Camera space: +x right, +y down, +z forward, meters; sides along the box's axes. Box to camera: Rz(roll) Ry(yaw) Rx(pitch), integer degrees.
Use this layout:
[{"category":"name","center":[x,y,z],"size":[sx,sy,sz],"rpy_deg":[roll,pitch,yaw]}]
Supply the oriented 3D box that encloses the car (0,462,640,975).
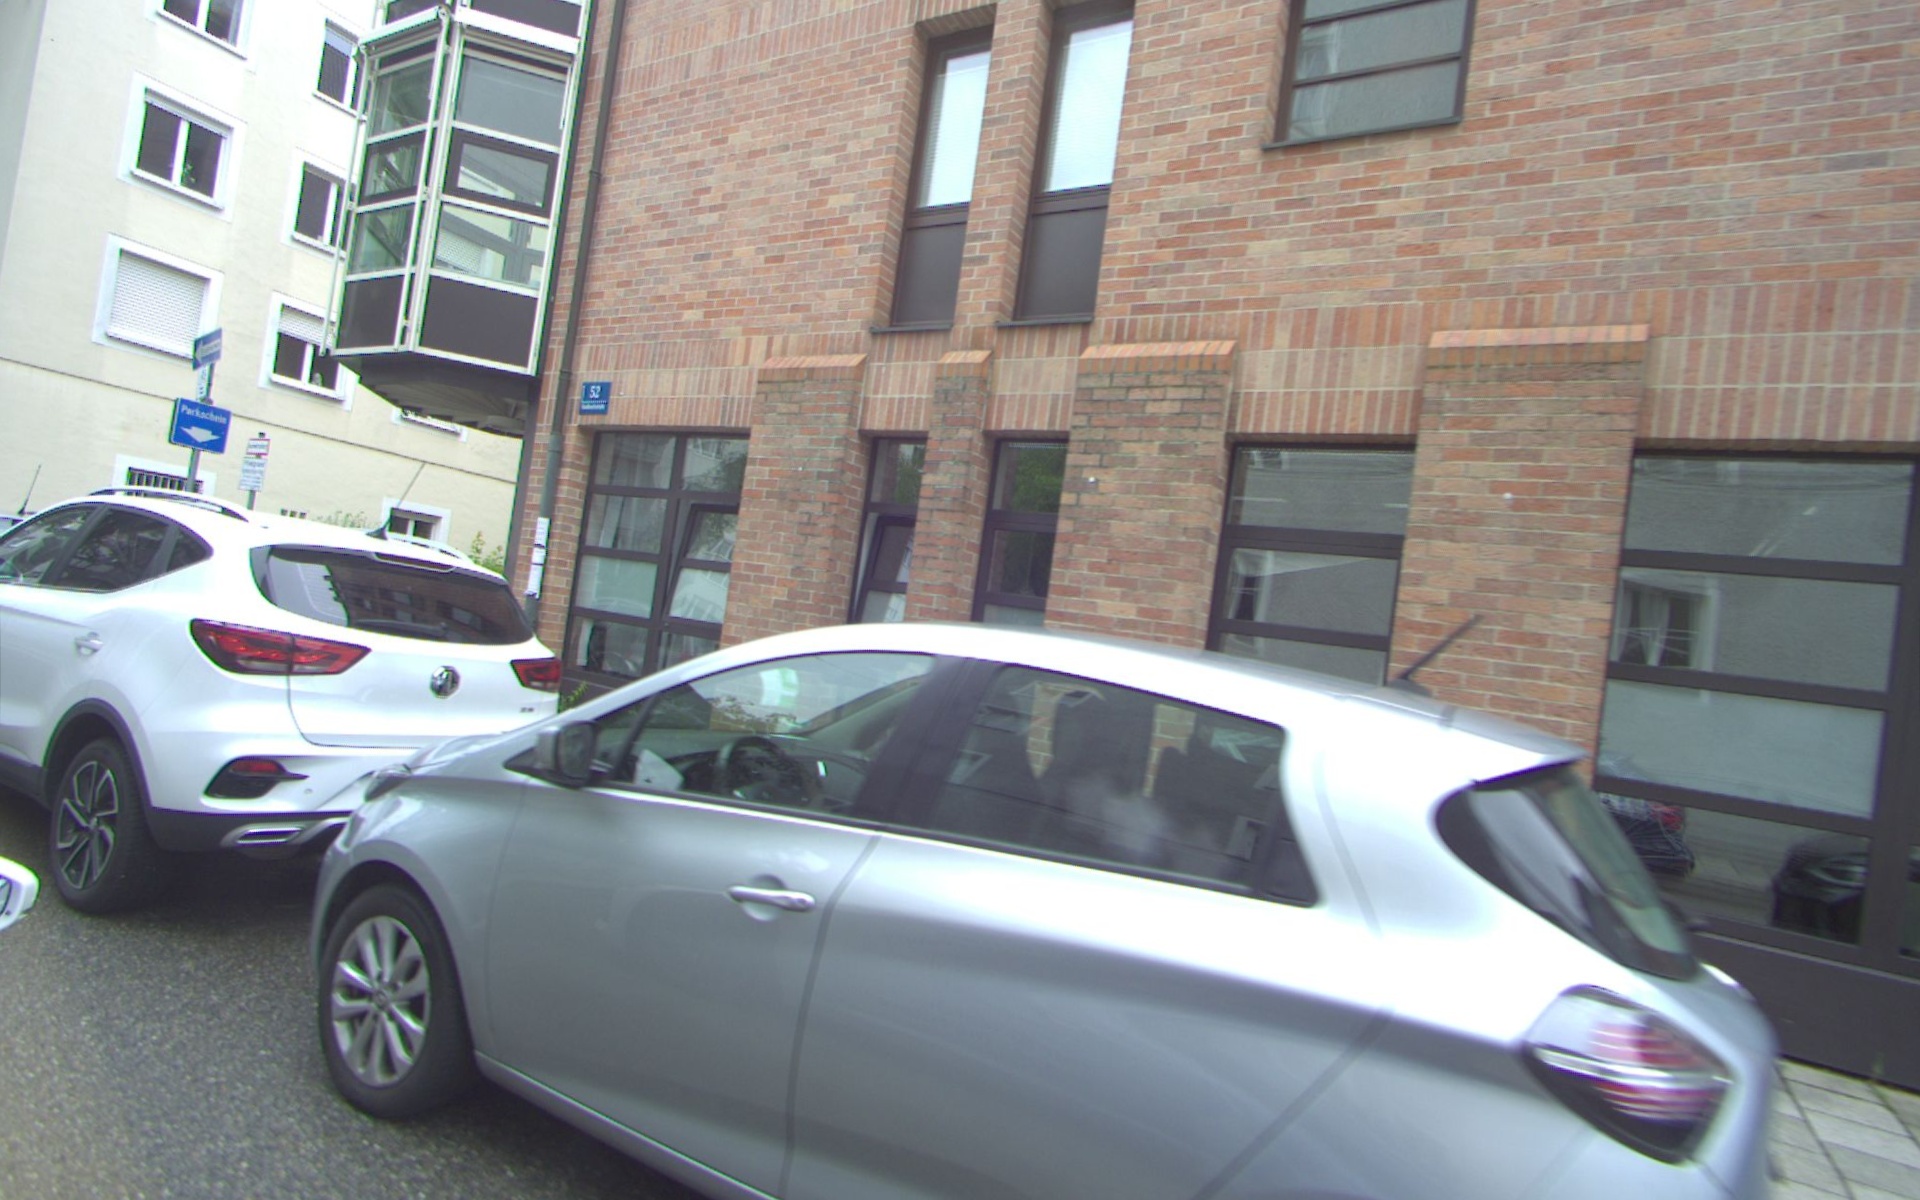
[{"category":"car","center":[-3.875,0.309,5.145],"size":[4.124,1.648,1.753],"rpy_deg":[7,-2,29]}]

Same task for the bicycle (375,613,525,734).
[{"category":"bicycle","center":[-4.605,0.643,9.045],"size":[1.516,0.884,0.385],"rpy_deg":[6,-1,32]}]

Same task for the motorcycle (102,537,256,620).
[{"category":"motorcycle","center":[-13.503,-0.349,17.436],"size":[1.897,1.120,0.622],"rpy_deg":[9,-2,-11]}]

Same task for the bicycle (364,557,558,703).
[{"category":"bicycle","center":[-5.109,0.328,10.352],"size":[1.628,1.291,0.376],"rpy_deg":[8,-1,-32]}]

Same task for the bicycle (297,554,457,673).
[{"category":"bicycle","center":[-6.871,0.169,11.881],"size":[1.523,1.172,0.380],"rpy_deg":[8,-2,3]}]

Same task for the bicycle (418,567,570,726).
[{"category":"bicycle","center":[-4.372,0.412,9.406],"size":[1.527,1.291,0.379],"rpy_deg":[6,-1,32]}]

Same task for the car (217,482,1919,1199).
[{"category":"car","center":[-0.014,0.739,2.822],"size":[3.814,1.654,1.726],"rpy_deg":[6,-2,28]}]

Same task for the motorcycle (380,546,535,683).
[{"category":"motorcycle","center":[-5.768,0.204,11.633],"size":[0.465,1.437,1.474],"rpy_deg":[7,-1,28]}]

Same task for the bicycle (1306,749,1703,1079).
[{"category":"bicycle","center":[2.500,1.372,4.731],"size":[1.447,1.091,0.561],"rpy_deg":[7,-2,32]}]

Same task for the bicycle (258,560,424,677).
[{"category":"bicycle","center":[-7.038,0.221,11.463],"size":[1.524,1.091,0.380],"rpy_deg":[9,-2,3]}]

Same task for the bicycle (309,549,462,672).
[{"category":"bicycle","center":[-7.127,0.139,12.500],"size":[1.523,1.290,0.380],"rpy_deg":[8,-2,3]}]

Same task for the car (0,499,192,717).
[{"category":"car","center":[-8.158,-0.128,7.998],"size":[3.932,1.461,1.750],"rpy_deg":[7,-3,30]}]
